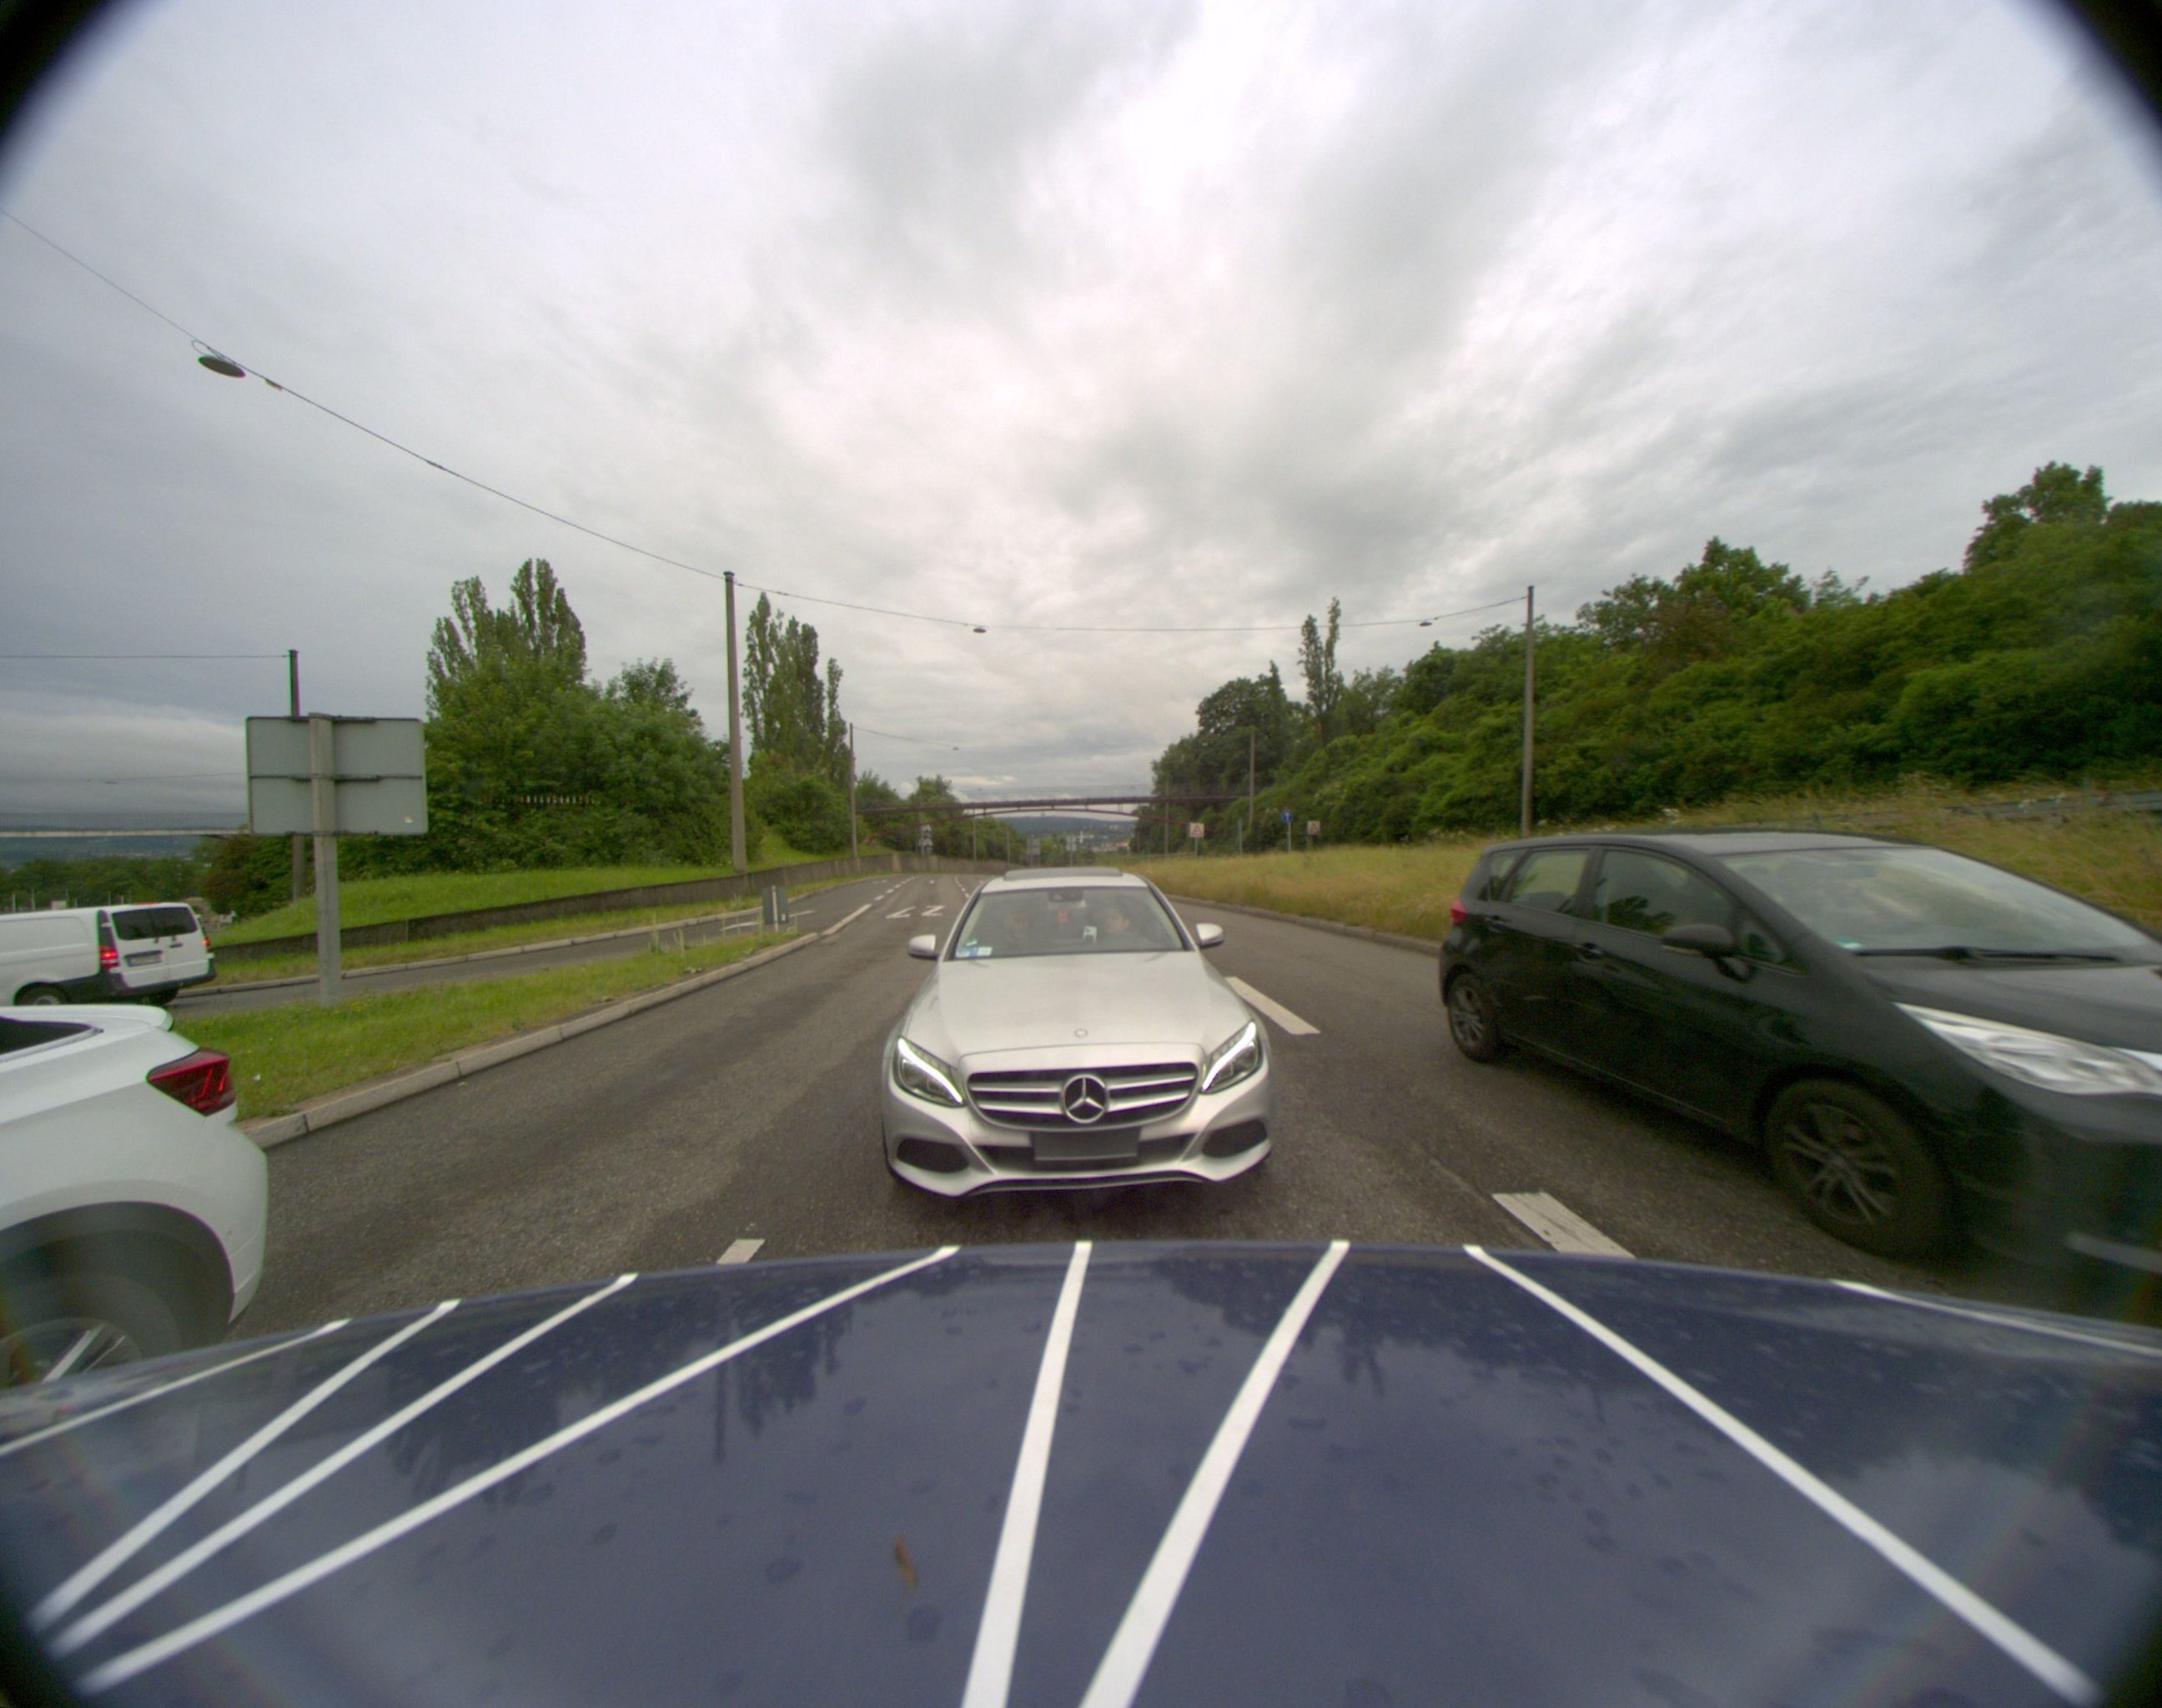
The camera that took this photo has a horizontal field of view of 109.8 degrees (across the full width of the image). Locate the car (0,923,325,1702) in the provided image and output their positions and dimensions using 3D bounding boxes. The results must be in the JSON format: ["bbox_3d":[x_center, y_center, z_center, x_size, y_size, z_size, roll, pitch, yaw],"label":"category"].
[{"bbox_3d":[-3.059,1.042,0.108,1.718,1.544,4.227,-2,1,-3],"label":"car"}]

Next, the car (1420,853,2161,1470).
[{"bbox_3d":[3.464,0.792,3.803,1.646,1.495,3.777,-3,0,-3],"label":"car"}]

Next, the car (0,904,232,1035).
[{"bbox_3d":[-18.084,2.012,12.684,4.825,1.837,1.998,-4,0,-14],"label":"car"}]

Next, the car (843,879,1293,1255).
[{"bbox_3d":[-0.056,0.986,5.325,1.895,1.361,4.134,-2,1,0],"label":"car"}]
